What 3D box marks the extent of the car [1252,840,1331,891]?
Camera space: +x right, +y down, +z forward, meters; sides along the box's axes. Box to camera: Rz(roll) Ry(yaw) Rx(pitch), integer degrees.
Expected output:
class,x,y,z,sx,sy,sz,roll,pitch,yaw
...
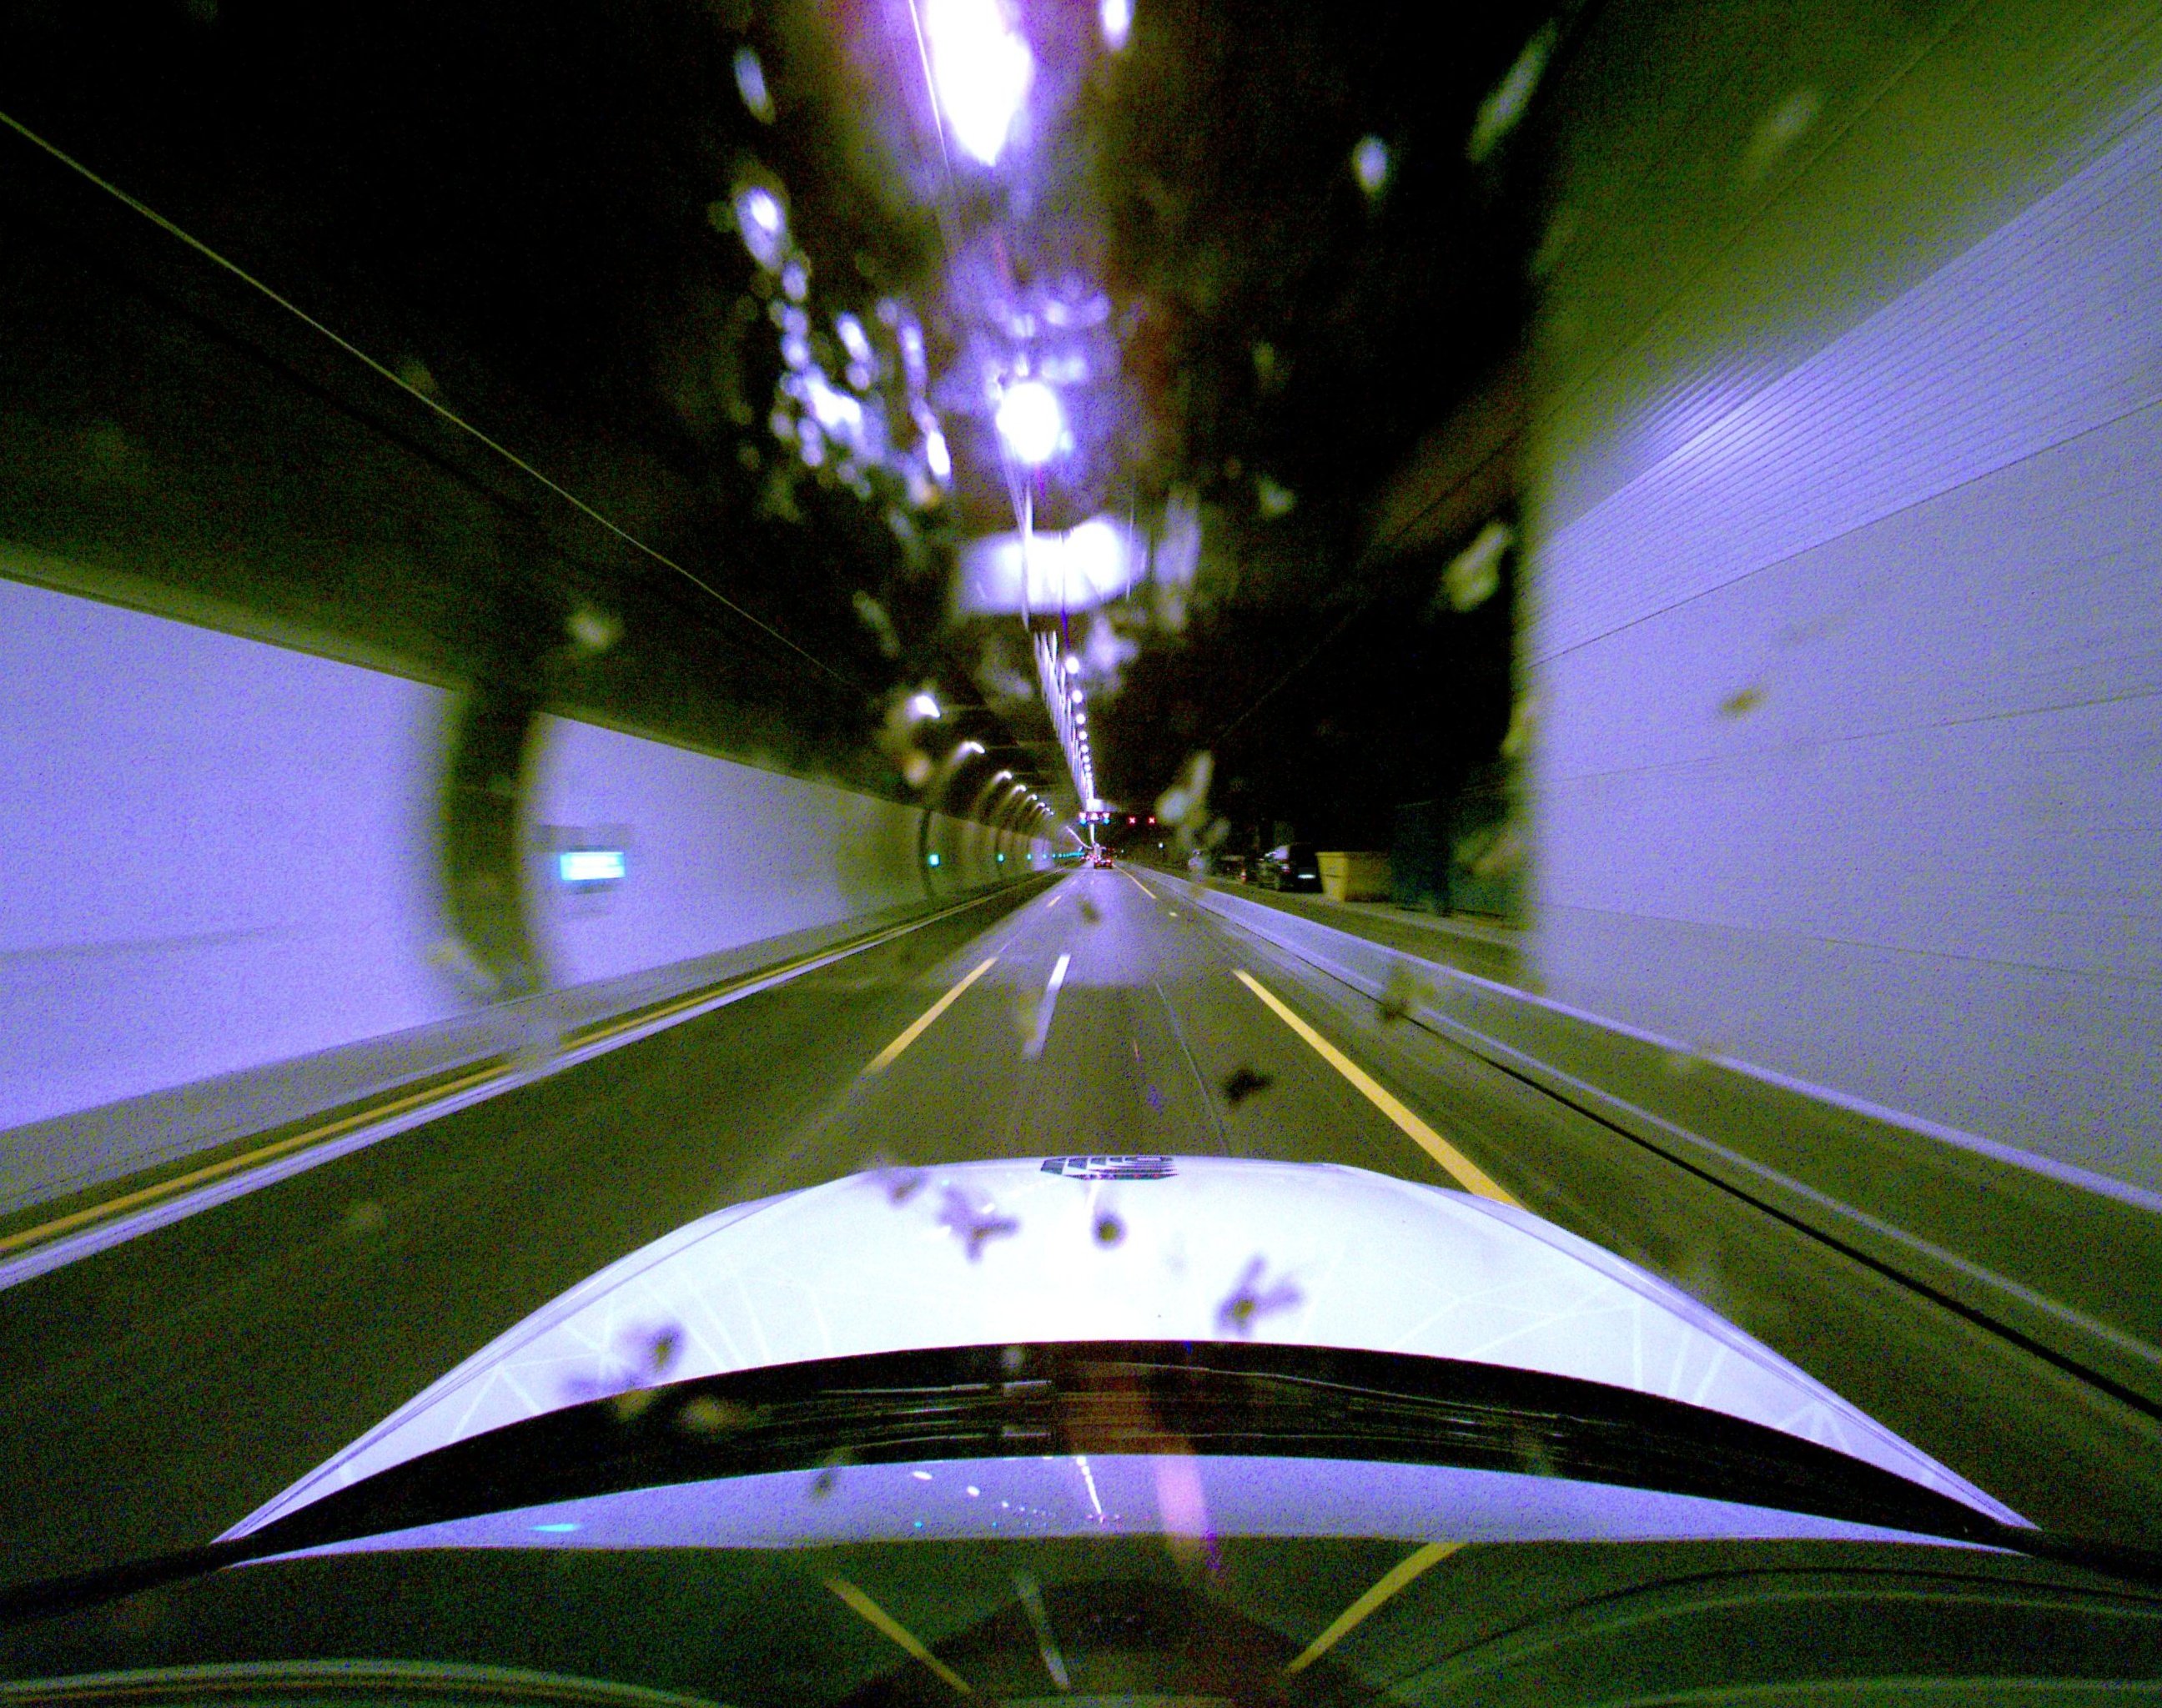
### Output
class,x,y,z,sx,sy,sz,roll,pitch,yaw
car,8.387,0.420,32.988,1.822,1.858,5.441,-1,0,0

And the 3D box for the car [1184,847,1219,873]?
class,x,y,z,sx,sy,sz,roll,pitch,yaw
car,9.273,0.441,62.963,1.747,1.845,4.640,-2,0,-3

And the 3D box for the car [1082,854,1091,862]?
class,x,y,z,sx,sy,sz,roll,pitch,yaw
car,1.175,0.833,186.043,1.923,1.687,4.001,-1,0,1

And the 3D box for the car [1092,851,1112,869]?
class,x,y,z,sx,sy,sz,roll,pitch,yaw
car,2.146,0.609,86.096,1.941,1.794,3.999,-1,0,-1
